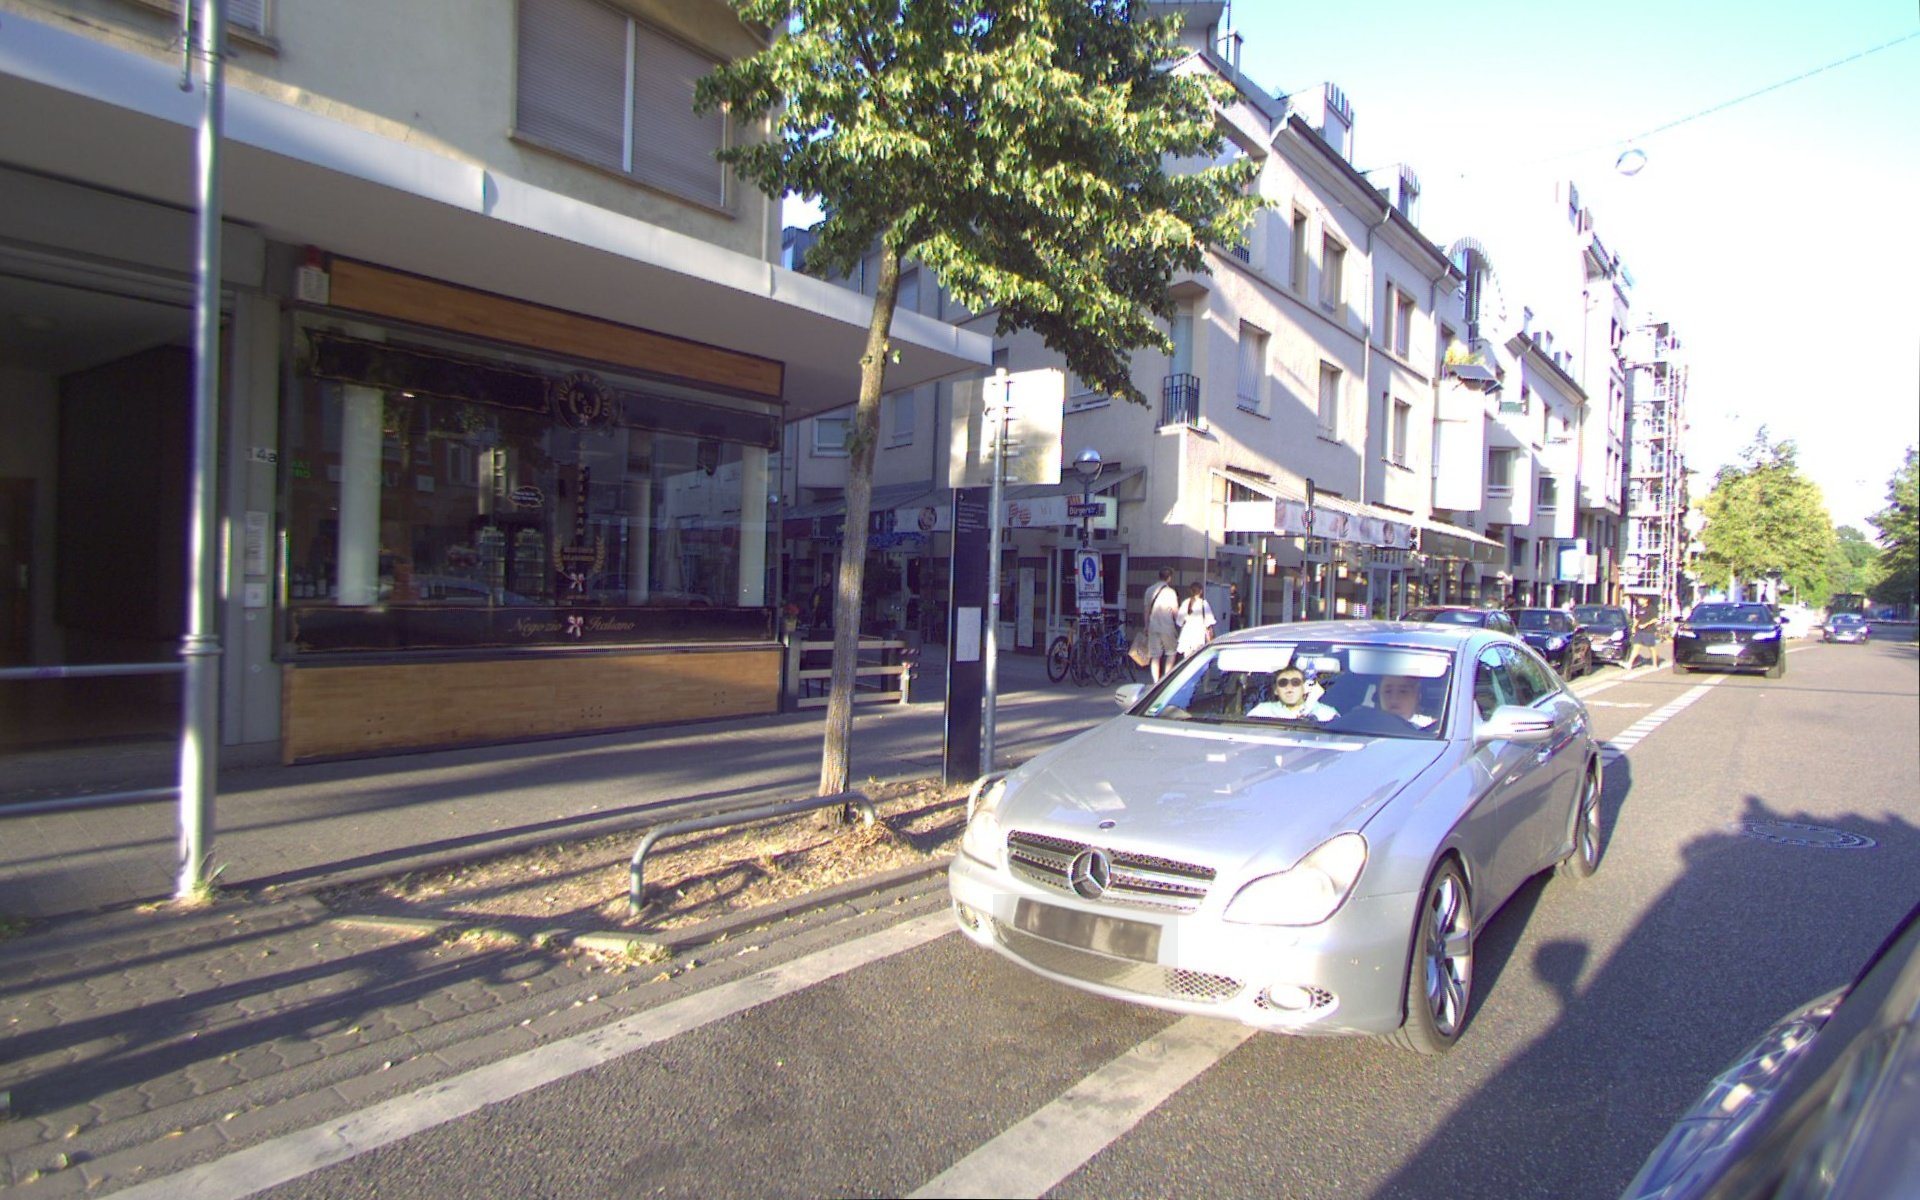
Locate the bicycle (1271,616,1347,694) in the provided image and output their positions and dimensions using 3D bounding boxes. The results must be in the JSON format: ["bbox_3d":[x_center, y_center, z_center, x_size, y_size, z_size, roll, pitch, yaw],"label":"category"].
[{"bbox_3d":[5.230,0.793,15.108,0.314,1.059,1.853,3,2,43],"label":"bicycle"}]

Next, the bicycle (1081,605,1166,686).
[{"bbox_3d":[2.478,0.647,15.188,0.320,1.118,1.851,2,1,41],"label":"bicycle"}]

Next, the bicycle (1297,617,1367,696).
[{"bbox_3d":[5.498,0.804,14.898,0.314,1.059,1.638,3,2,43],"label":"bicycle"}]

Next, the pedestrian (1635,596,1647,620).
[{"bbox_3d":[36.278,0.436,53.908,0.490,1.279,0.415,0,0,42],"label":"pedestrian"}]

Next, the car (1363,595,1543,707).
[{"bbox_3d":[7.767,0.694,15.776,1.587,1.451,3.868,4,2,40],"label":"car"}]

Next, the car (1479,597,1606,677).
[{"bbox_3d":[12.241,0.708,21.162,1.615,1.452,3.868,3,2,40],"label":"car"}]

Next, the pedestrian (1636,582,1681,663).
[{"bbox_3d":[16.862,0.548,24.429,0.776,1.907,0.660,-2,-2,41],"label":"pedestrian"}]

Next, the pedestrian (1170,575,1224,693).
[{"bbox_3d":[3.347,0.467,14.279,0.519,1.612,0.402,5,3,41],"label":"pedestrian"}]

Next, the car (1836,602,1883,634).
[{"bbox_3d":[44.163,0.871,49.737,1.616,1.492,3.634,0,0,41],"label":"car"}]

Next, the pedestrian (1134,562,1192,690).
[{"bbox_3d":[2.946,0.366,14.695,0.543,1.779,0.495,5,3,41],"label":"pedestrian"}]

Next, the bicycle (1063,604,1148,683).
[{"bbox_3d":[2.242,0.627,15.409,0.290,1.118,1.859,2,1,41],"label":"bicycle"}]

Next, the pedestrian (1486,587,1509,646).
[{"bbox_3d":[17.006,0.514,32.027,0.574,1.823,0.443,0,0,42],"label":"pedestrian"}]

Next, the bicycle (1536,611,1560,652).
[{"bbox_3d":[16.322,0.856,28.069,0.295,1.099,1.441,1,1,41],"label":"bicycle"}]

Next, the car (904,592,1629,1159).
[{"bbox_3d":[1.919,0.693,4.935,1.740,1.418,4.572,0,1,40],"label":"car"}]

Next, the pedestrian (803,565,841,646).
[{"bbox_3d":[-3.020,0.106,22.139,0.688,1.696,0.799,2,2,-13],"label":"pedestrian"}]

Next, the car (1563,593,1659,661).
[{"bbox_3d":[17.197,0.671,26.671,1.615,1.612,3.868,2,1,40],"label":"car"}]

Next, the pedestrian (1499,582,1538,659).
[{"bbox_3d":[13.298,0.473,24.088,0.629,1.771,0.660,3,2,41],"label":"pedestrian"}]

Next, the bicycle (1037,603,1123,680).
[{"bbox_3d":[1.886,0.615,15.716,0.320,1.118,1.851,2,1,41],"label":"bicycle"}]

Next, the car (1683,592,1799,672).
[{"bbox_3d":[17.928,0.666,23.161,1.884,1.656,4.165,0,0,41],"label":"car"}]
